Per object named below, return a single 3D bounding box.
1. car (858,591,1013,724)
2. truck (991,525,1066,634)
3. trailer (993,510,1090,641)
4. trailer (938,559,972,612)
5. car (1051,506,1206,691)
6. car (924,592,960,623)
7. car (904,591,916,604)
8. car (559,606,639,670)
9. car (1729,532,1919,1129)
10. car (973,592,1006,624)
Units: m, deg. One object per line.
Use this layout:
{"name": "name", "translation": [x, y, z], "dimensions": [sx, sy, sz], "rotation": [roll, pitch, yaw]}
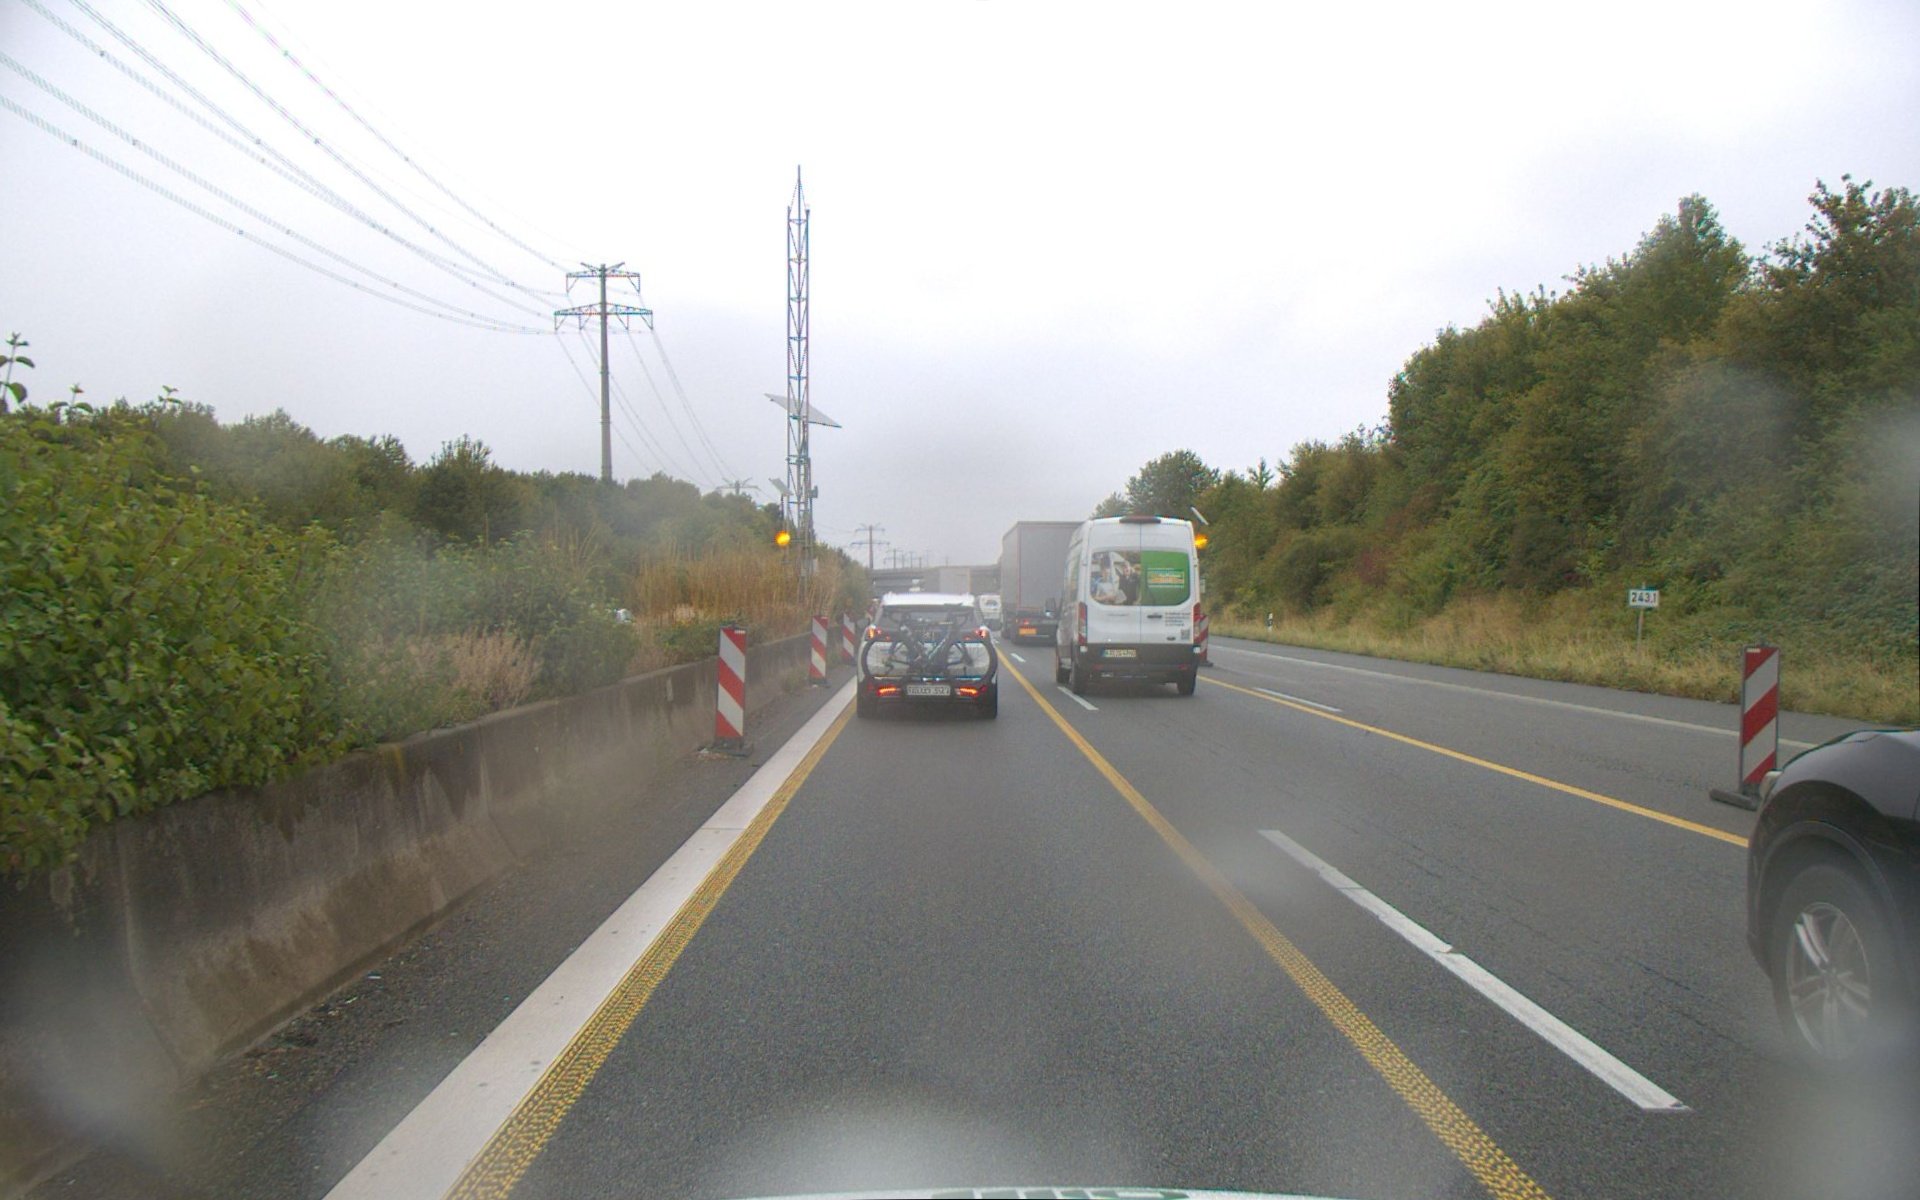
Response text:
{"name": "car", "translation": [-0.332, 0.672, 21.739], "dimensions": [1.812, 1.557, 4.767], "rotation": [0, 0, -1]}
{"name": "truck", "translation": [2.698, -0.791, 66.784], "dimensions": [2.651, 4.211, 5.689], "rotation": [0, 0, -1]}
{"name": "trailer", "translation": [2.762, -0.787, 60.073], "dimensions": [2.651, 4.219, 13.729], "rotation": [0, 0, -1]}
{"name": "trailer", "translation": [-0.482, -1.111, 136.272], "dimensions": [2.638, 4.148, 13.630], "rotation": [0, 0, -1]}
{"name": "car", "translation": [2.751, -0.026, 28.285], "dimensions": [1.953, 2.831, 5.755], "rotation": [0, 0, -1]}
{"name": "car", "translation": [-0.954, 0.356, 85.819], "dimensions": [1.812, 1.557, 3.999], "rotation": [0, 0, -1]}
{"name": "car", "translation": [-7.832, -0.445, 258.784], "dimensions": [1.892, 2.008, 3.999], "rotation": [0, 1, -1]}
{"name": "car", "translation": [-11.716, 1.207, 53.946], "dimensions": [1.697, 1.967, 4.160], "rotation": [1, -1, -1]}
{"name": "car", "translation": [3.587, 0.655, 3.654], "dimensions": [1.651, 1.687, 4.278], "rotation": [0, 0, -2]}
{"name": "car", "translation": [1.772, 0.473, 99.276], "dimensions": [1.792, 1.871, 4.654], "rotation": [0, 0, -1]}
